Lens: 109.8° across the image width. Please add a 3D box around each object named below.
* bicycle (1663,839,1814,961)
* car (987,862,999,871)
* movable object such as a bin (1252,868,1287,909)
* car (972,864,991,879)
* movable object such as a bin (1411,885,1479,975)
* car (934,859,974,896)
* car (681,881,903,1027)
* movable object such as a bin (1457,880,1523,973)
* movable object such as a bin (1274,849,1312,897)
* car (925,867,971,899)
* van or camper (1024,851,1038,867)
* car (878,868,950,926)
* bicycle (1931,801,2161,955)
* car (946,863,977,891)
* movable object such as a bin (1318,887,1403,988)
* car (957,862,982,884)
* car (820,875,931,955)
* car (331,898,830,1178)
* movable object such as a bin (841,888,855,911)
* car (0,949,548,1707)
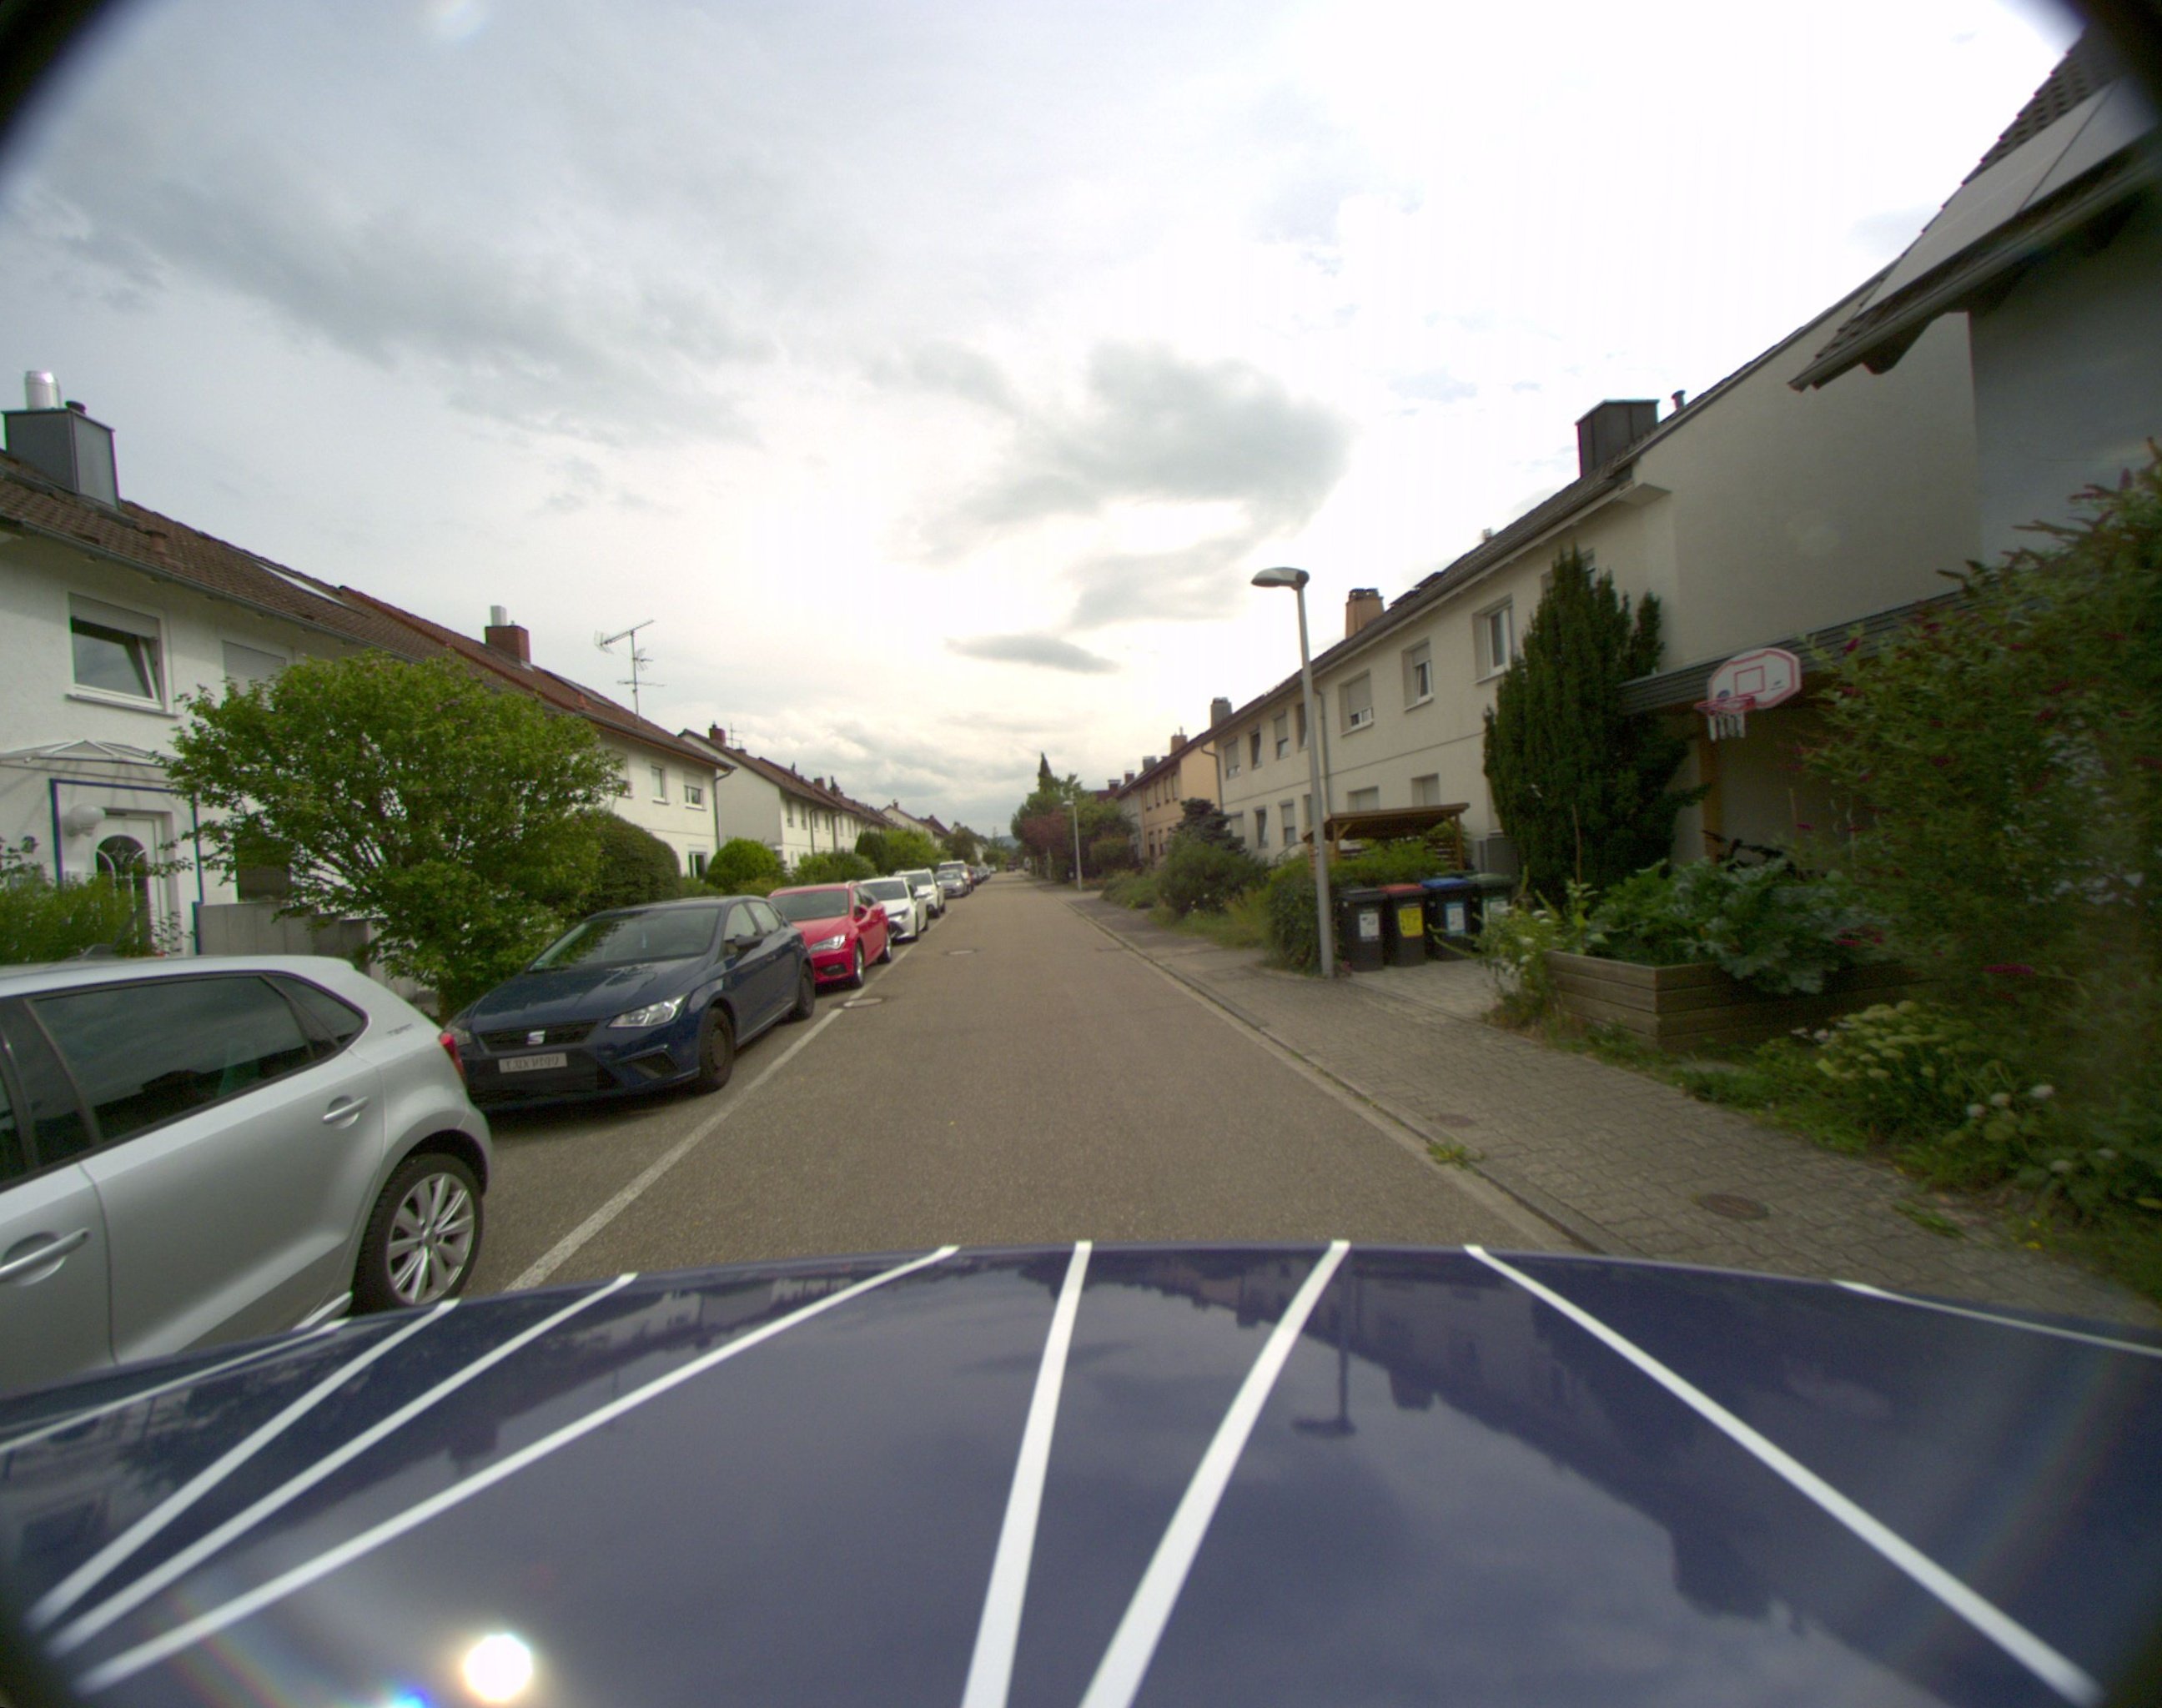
[{"bbox_3d":[7.508,0.493,8.664,1.813,1.143,0.425,-6,1,-20],"label":"bicycle"},{"bbox_3d":[-17.225,2.414,148.298,2.000,1.589,3.997,-4,0,-9],"label":"car"},{"bbox_3d":[4.868,0.889,19.661,0.677,1.001,0.598,-3,0,-5],"label":"movable object such as a bin"},{"bbox_3d":[-10.913,1.862,83.497,1.754,1.458,4.645,-4,0,-6],"label":"car"},{"bbox_3d":[4.147,0.852,8.677,0.468,0.950,0.467,-4,0,-5],"label":"movable object such as a bin"},{"bbox_3d":[-7.391,1.337,44.539,2.027,1.936,4.744,-3,0,-7],"label":"car"},{"bbox_3d":[-4.006,1.276,11.506,1.779,1.427,4.823,-6,0,-5],"label":"car"},{"bbox_3d":[4.652,0.810,8.659,0.449,0.998,0.467,-3,0,-5],"label":"movable object such as a bin"},{"bbox_3d":[5.607,0.495,20.115,0.698,1.232,0.734,-3,0,-5],"label":"movable object such as a bin"},{"bbox_3d":[-6.836,1.452,39.467,1.906,1.451,4.128,-3,0,-5],"label":"car"},{"bbox_3d":[-9.152,0.880,139.417,2.347,2.719,5.745,-4,0,-5],"label":"van or camper"},{"bbox_3d":[-5.286,1.299,24.489,1.719,1.534,3.971,-5,0,-6],"label":"car"},{"bbox_3d":[9.445,0.212,7.300,2.096,1.339,0.489,-3,0,-4],"label":"bicycle"},{"bbox_3d":[-7.785,1.490,49.522,1.816,1.641,4.407,-3,0,-9],"label":"car"},{"bbox_3d":[3.154,0.926,8.613,0.604,1.021,0.664,-5,0,-5],"label":"movable object such as a bin"},{"bbox_3d":[-9.279,1.561,63.607,1.873,1.643,4.461,-4,0,-7],"label":"car"},{"bbox_3d":[-4.552,1.276,17.494,1.844,1.404,4.634,-3,0,-8],"label":"car"},{"bbox_3d":[-3.677,1.216,6.684,1.778,1.348,4.264,-3,0,-5],"label":"car"},{"bbox_3d":[-9.818,1.911,32.027,0.432,0.916,0.464,-5,0,-10],"label":"movable object such as a bin"},{"bbox_3d":[-3.119,1.169,1.217,1.870,1.408,4.250,-4,0,-8],"label":"car"}]
